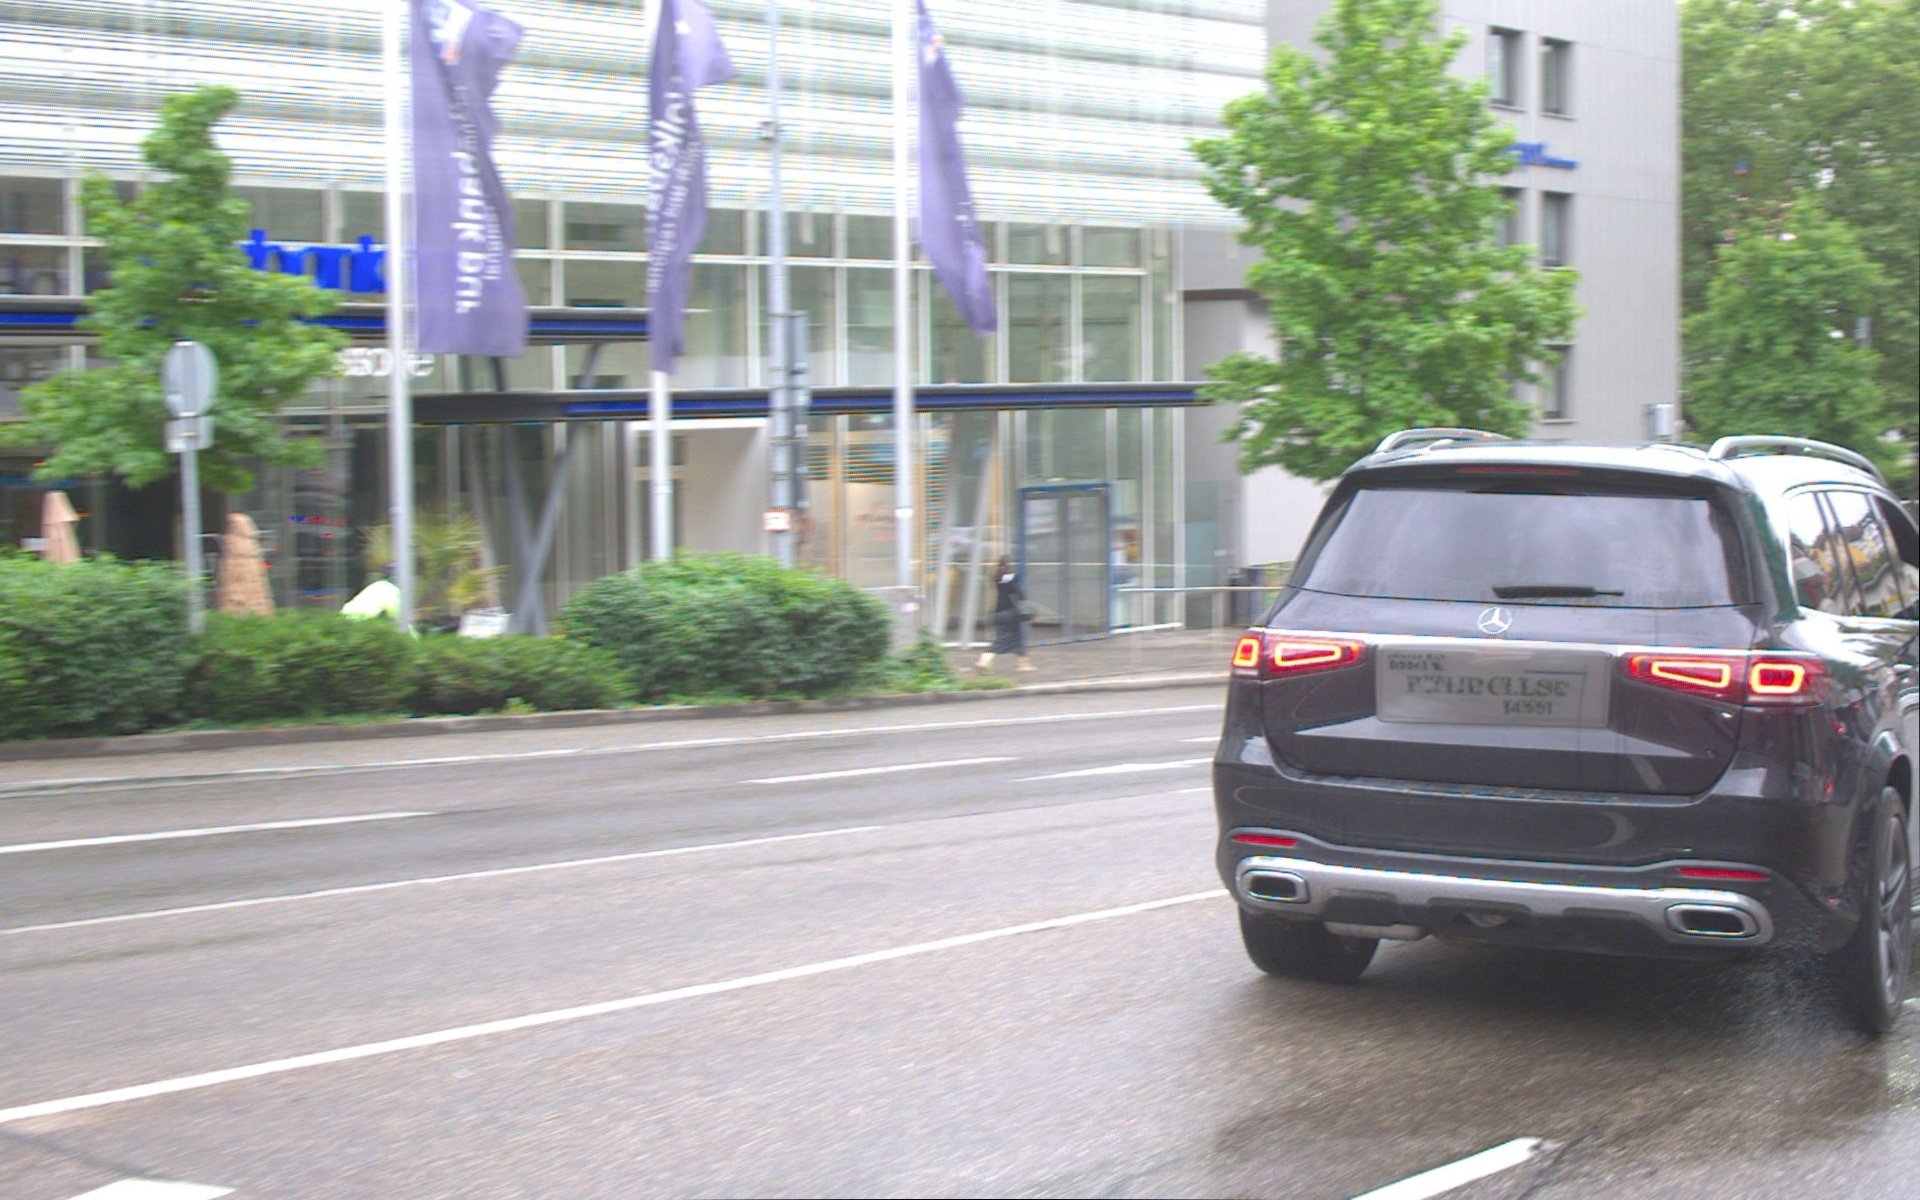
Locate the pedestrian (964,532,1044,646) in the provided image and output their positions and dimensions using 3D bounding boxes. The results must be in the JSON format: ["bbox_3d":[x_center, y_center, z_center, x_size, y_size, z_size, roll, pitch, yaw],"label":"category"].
[{"bbox_3d":[0.566,-0.149,44.074,0.653,1.451,0.843,1,2,37],"label":"pedestrian"}]

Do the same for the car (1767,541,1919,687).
[{"bbox_3d":[10.534,0.117,38.481,1.844,1.547,4.087,-1,1,29],"label":"car"}]

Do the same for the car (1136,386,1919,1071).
[{"bbox_3d":[2.459,0.292,11.922,2.090,1.810,4.787,3,2,23],"label":"car"}]

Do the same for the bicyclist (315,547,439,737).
[{"bbox_3d":[-5.711,0.401,33.701,0.670,1.823,0.988,1,0,43],"label":"bicyclist"}]

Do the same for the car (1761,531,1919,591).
[{"bbox_3d":[25.525,-1.129,98.938,4.595,1.477,1.940,3,2,18],"label":"car"}]

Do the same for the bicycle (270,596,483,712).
[{"bbox_3d":[-5.706,0.511,33.715,0.680,1.095,2.065,1,1,43],"label":"bicycle"}]

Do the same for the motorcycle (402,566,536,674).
[{"bbox_3d":[-6.127,0.238,42.884,1.550,1.291,0.767,2,2,37],"label":"motorcycle"}]
